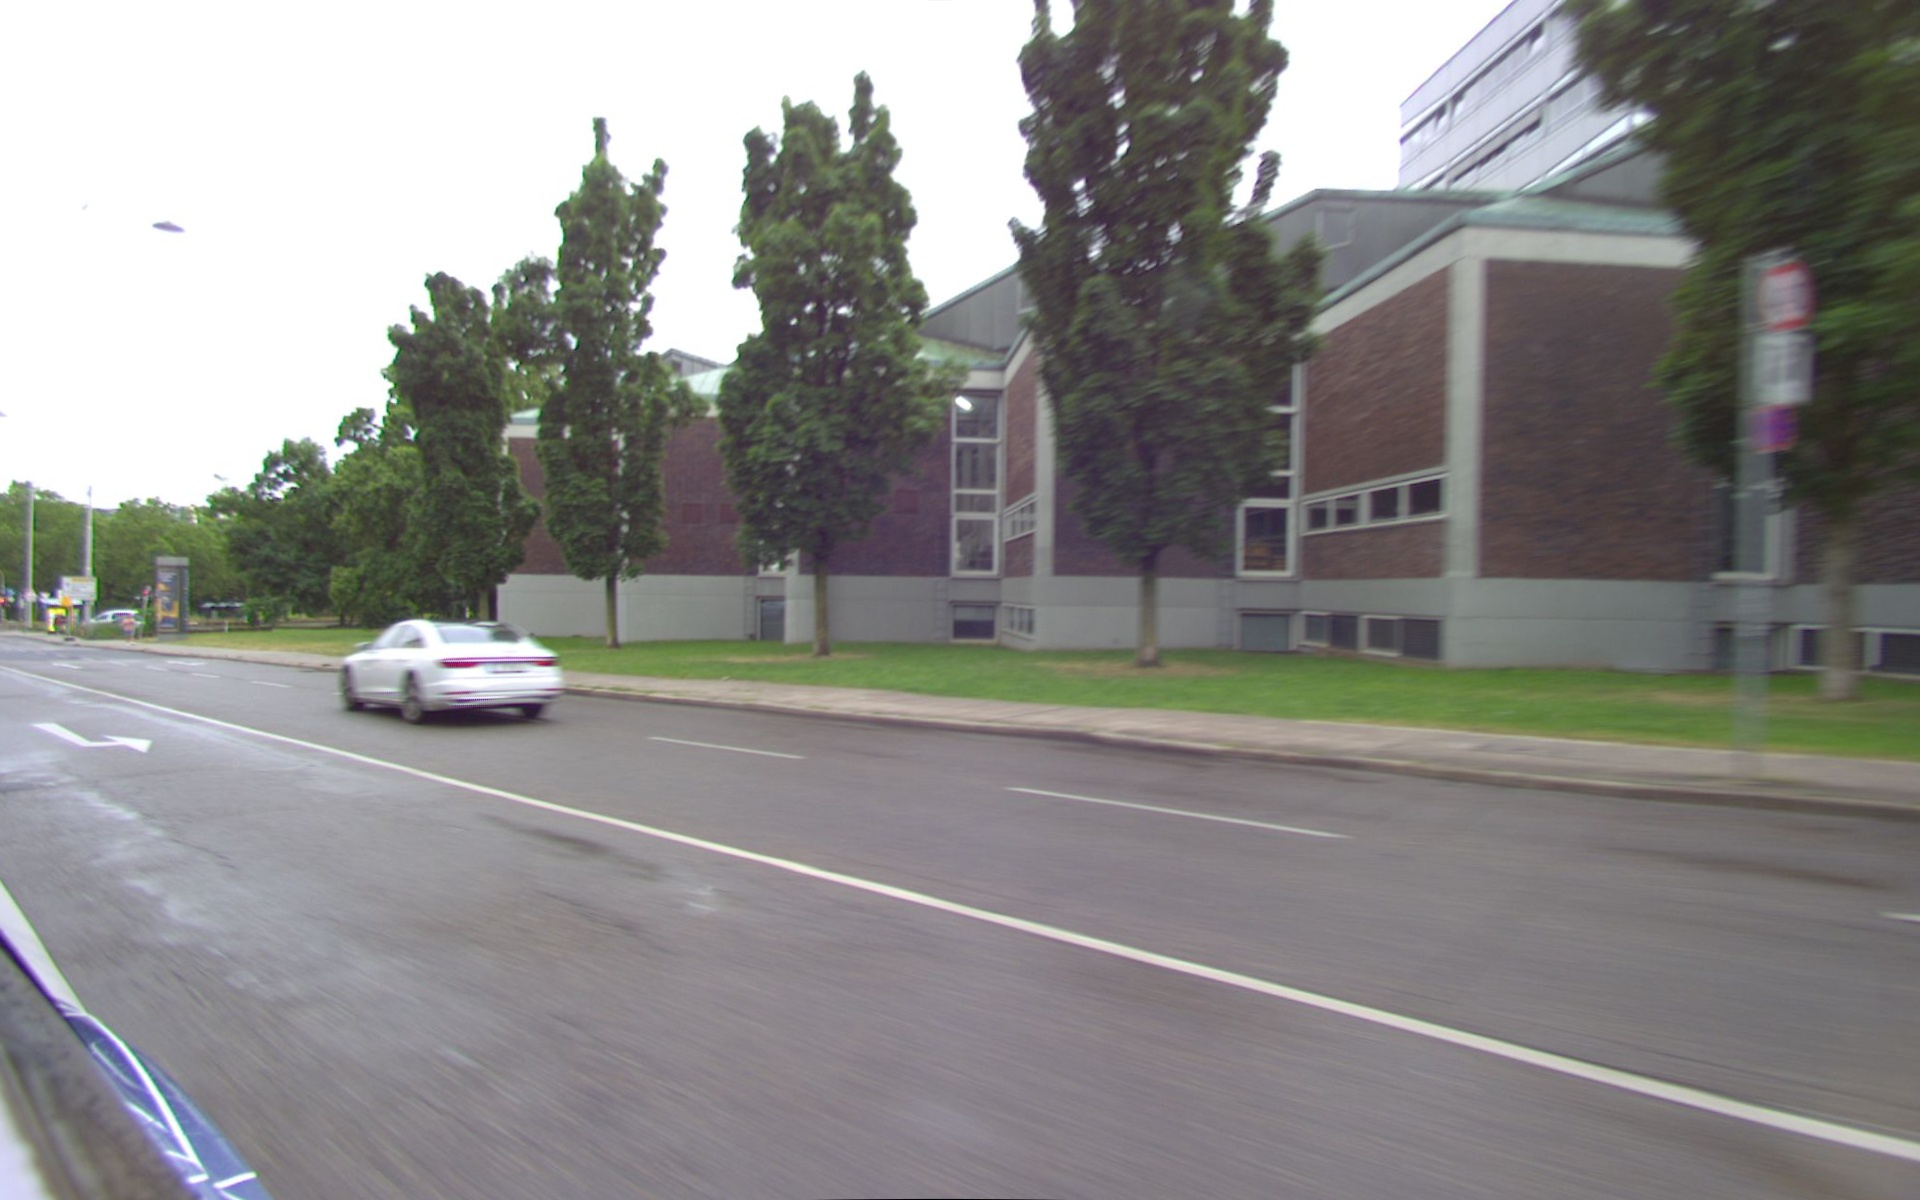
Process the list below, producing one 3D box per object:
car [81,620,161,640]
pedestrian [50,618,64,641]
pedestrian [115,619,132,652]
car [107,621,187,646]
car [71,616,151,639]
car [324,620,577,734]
[{"bbox_3d":[-64.061,2.313,77.313,4.305,1.359,1.911,-1,0,-19],"label":"car"},{"bbox_3d":[-69.721,2.270,78.144,0.641,1.708,0.622,0,0,33],"label":"pedestrian"},{"bbox_3d":[-44.222,1.871,53.487,0.662,1.699,0.914,-1,0,-42],"label":"pedestrian"},{"bbox_3d":[-57.099,2.371,71.114,4.472,1.621,1.865,-1,0,8],"label":"car"},{"bbox_3d":[-69.338,2.226,82.703,4.649,1.768,2.020,-1,0,-7],"label":"car"},{"bbox_3d":[-8.118,1.105,15.845,5.220,1.502,1.861,-2,-3,44],"label":"car"}]
